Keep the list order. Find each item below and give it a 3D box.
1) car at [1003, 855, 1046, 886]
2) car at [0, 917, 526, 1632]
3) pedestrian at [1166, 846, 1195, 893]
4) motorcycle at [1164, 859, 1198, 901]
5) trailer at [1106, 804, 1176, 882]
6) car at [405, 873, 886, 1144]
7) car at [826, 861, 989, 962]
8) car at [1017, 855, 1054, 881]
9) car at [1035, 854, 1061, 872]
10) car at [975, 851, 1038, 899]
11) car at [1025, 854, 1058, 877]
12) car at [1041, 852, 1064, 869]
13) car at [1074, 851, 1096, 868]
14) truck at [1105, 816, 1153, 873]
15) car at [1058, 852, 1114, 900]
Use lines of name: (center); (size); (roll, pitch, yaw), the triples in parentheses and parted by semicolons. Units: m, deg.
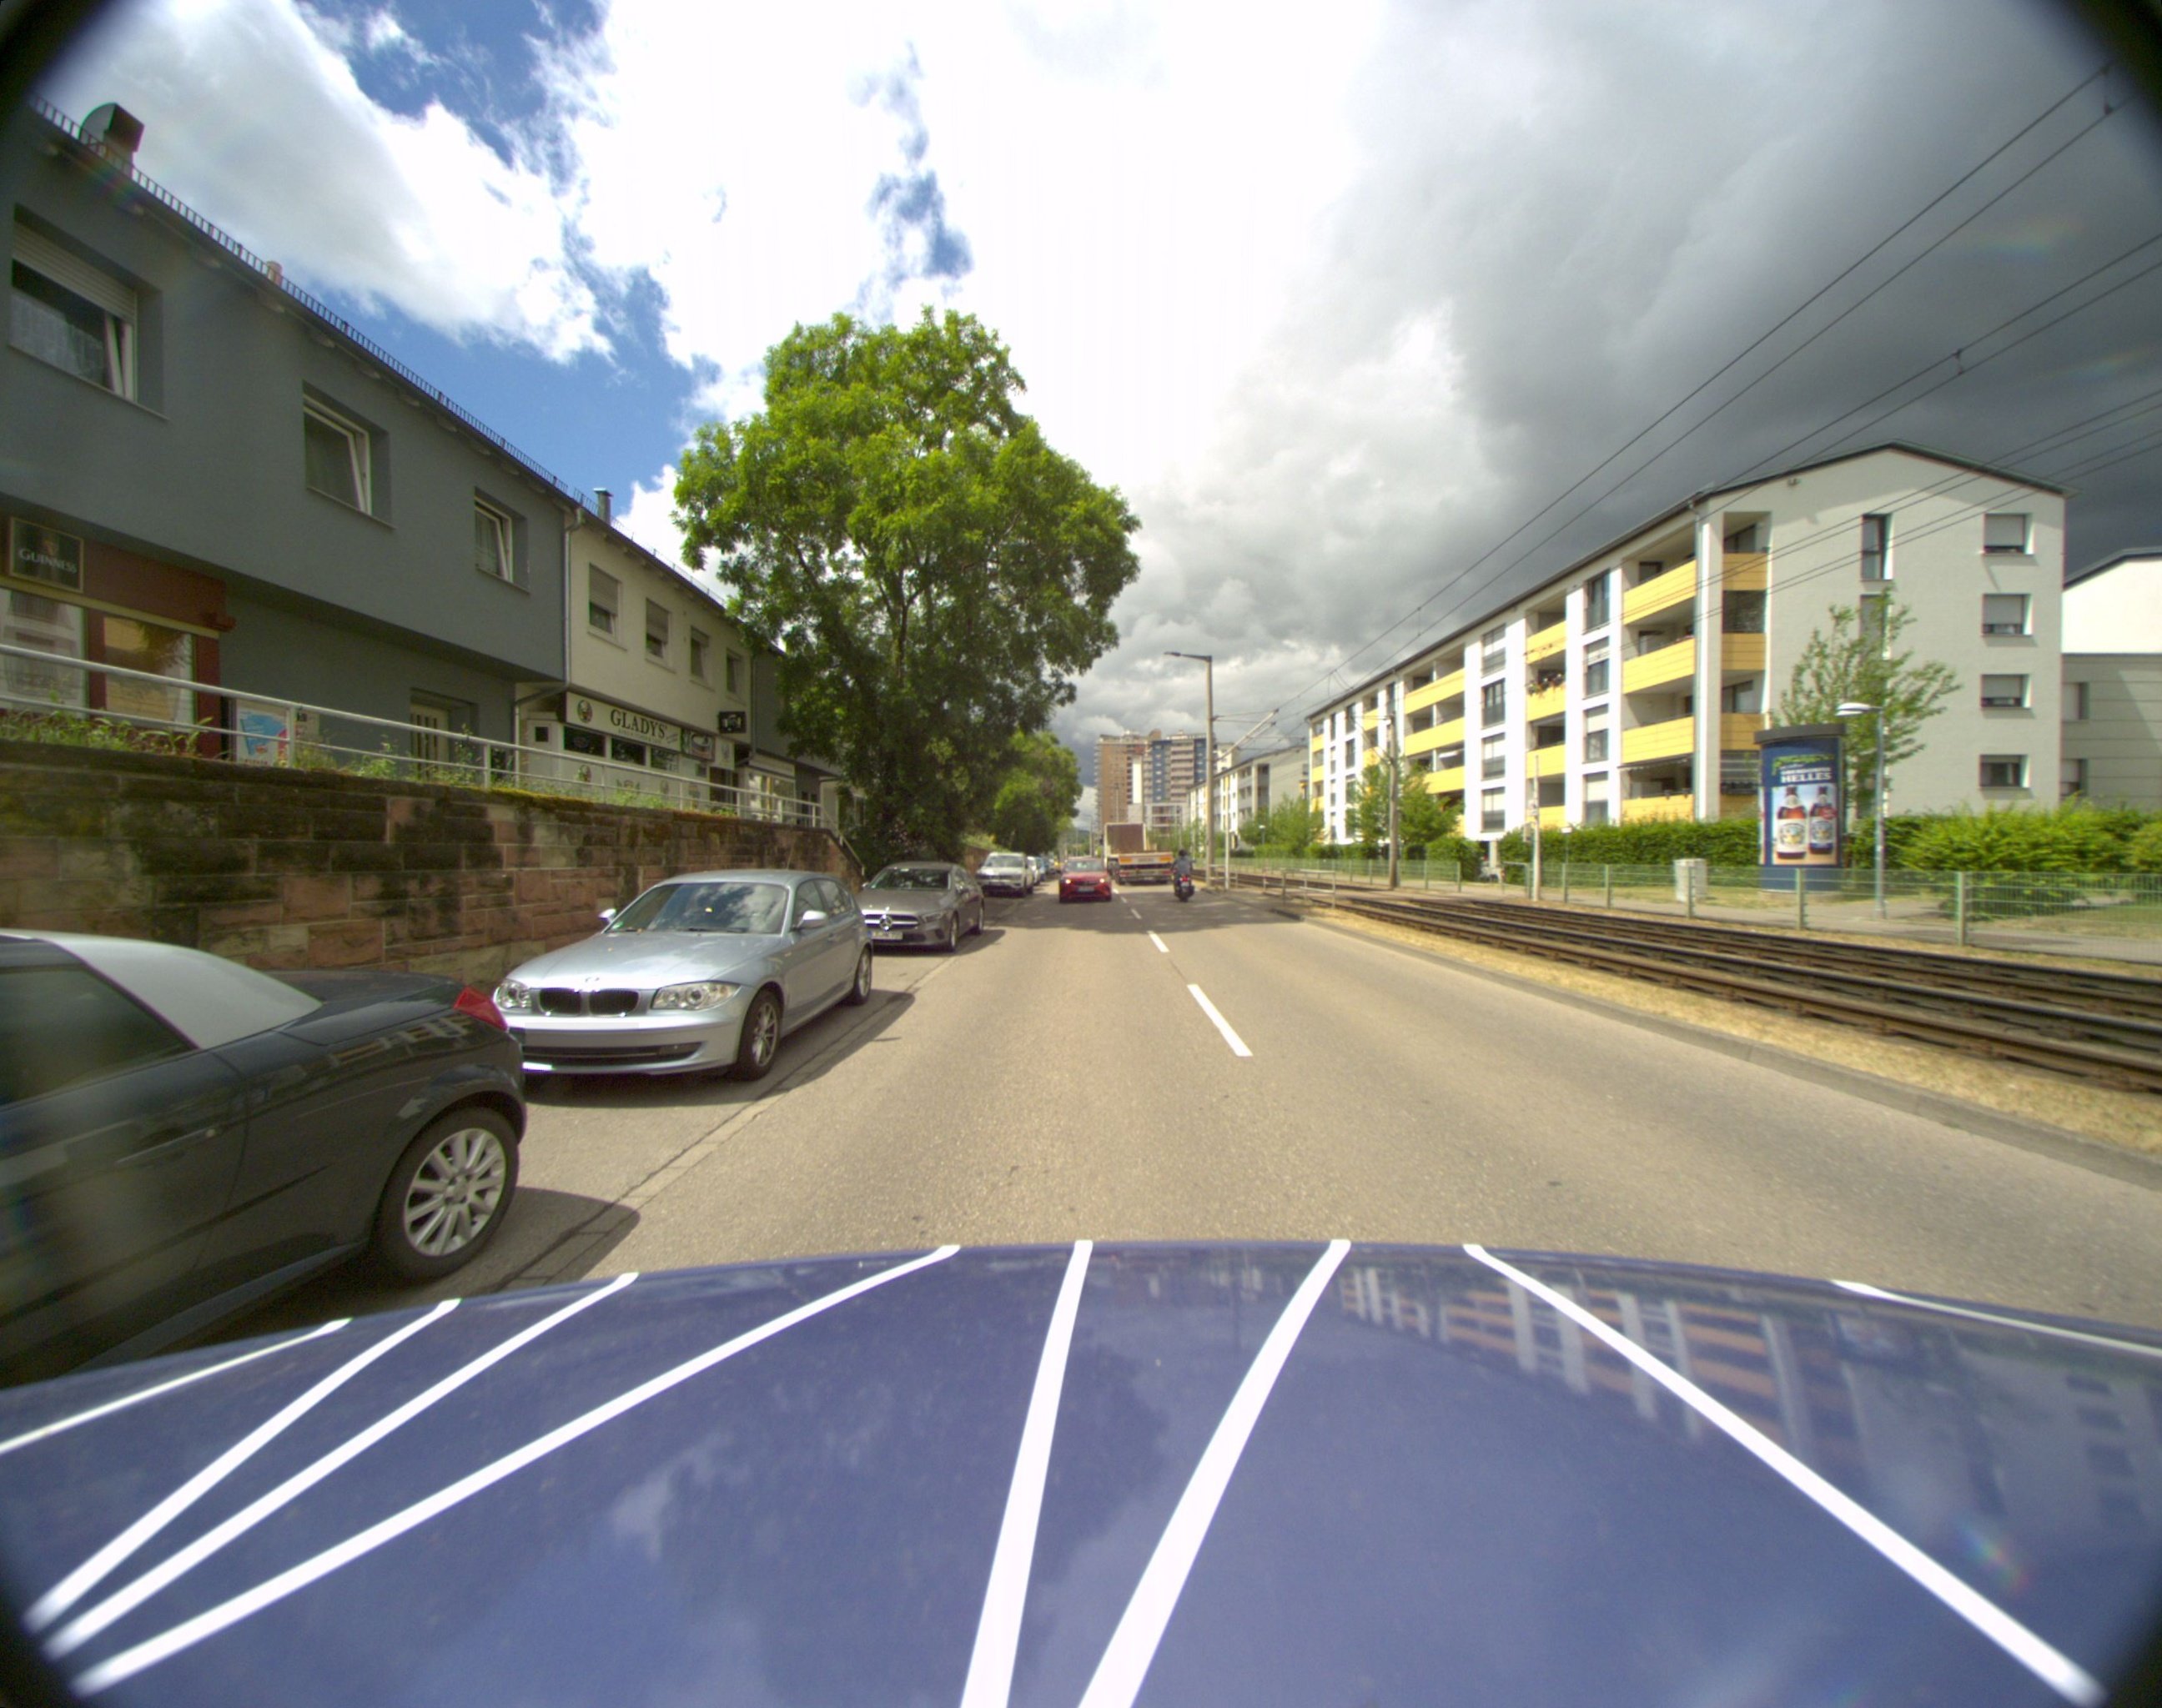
car: (-2.852, 0.817, 39.260); (1.784, 1.420, 4.147); (-1, 0, 2)
car: (-3.158, 0.994, 1.288); (1.578, 1.420, 3.735); (-1, 1, 2)
pedestrian: (3.056, 0.464, 23.430); (0.737, 1.408, 0.927); (-3, 1, 0)
motorcycle: (3.075, 0.777, 23.493); (0.783, 1.181, 1.869); (-2, 1, 0)
trailer: (2.959, -0.546, 41.965); (2.875, 3.429, 14.615); (-3, 0, 1)
car: (-3.100, 0.967, 6.552); (1.785, 1.420, 4.144); (2, 1, -1)
car: (-2.838, 0.882, 13.430); (1.784, 1.420, 4.147); (-1, 0, 2)
car: (-2.698, 0.790, 45.723); (1.784, 1.420, 4.147); (-1, 0, 2)
car: (-2.688, 0.718, 62.912); (1.784, 1.420, 4.147); (-1, 0, 2)
car: (-2.751, 0.748, 28.938); (1.819, 1.644, 4.147); (-1, 1, 2)
car: (-2.578, 0.752, 50.365); (1.784, 1.420, 4.147); (-1, 0, 2)
car: (-2.570, 0.568, 69.522); (1.784, 1.420, 4.147); (-1, 0, 2)
car: (0.317, 0.507, 73.965); (1.927, 1.543, 3.999); (-3, 1, -2)
truck: (3.136, -0.621, 50.342); (2.852, 3.429, 4.415); (-3, 1, 1)
car: (0.247, 0.709, 26.487); (1.723, 1.434, 4.000); (-3, 0, 3)
